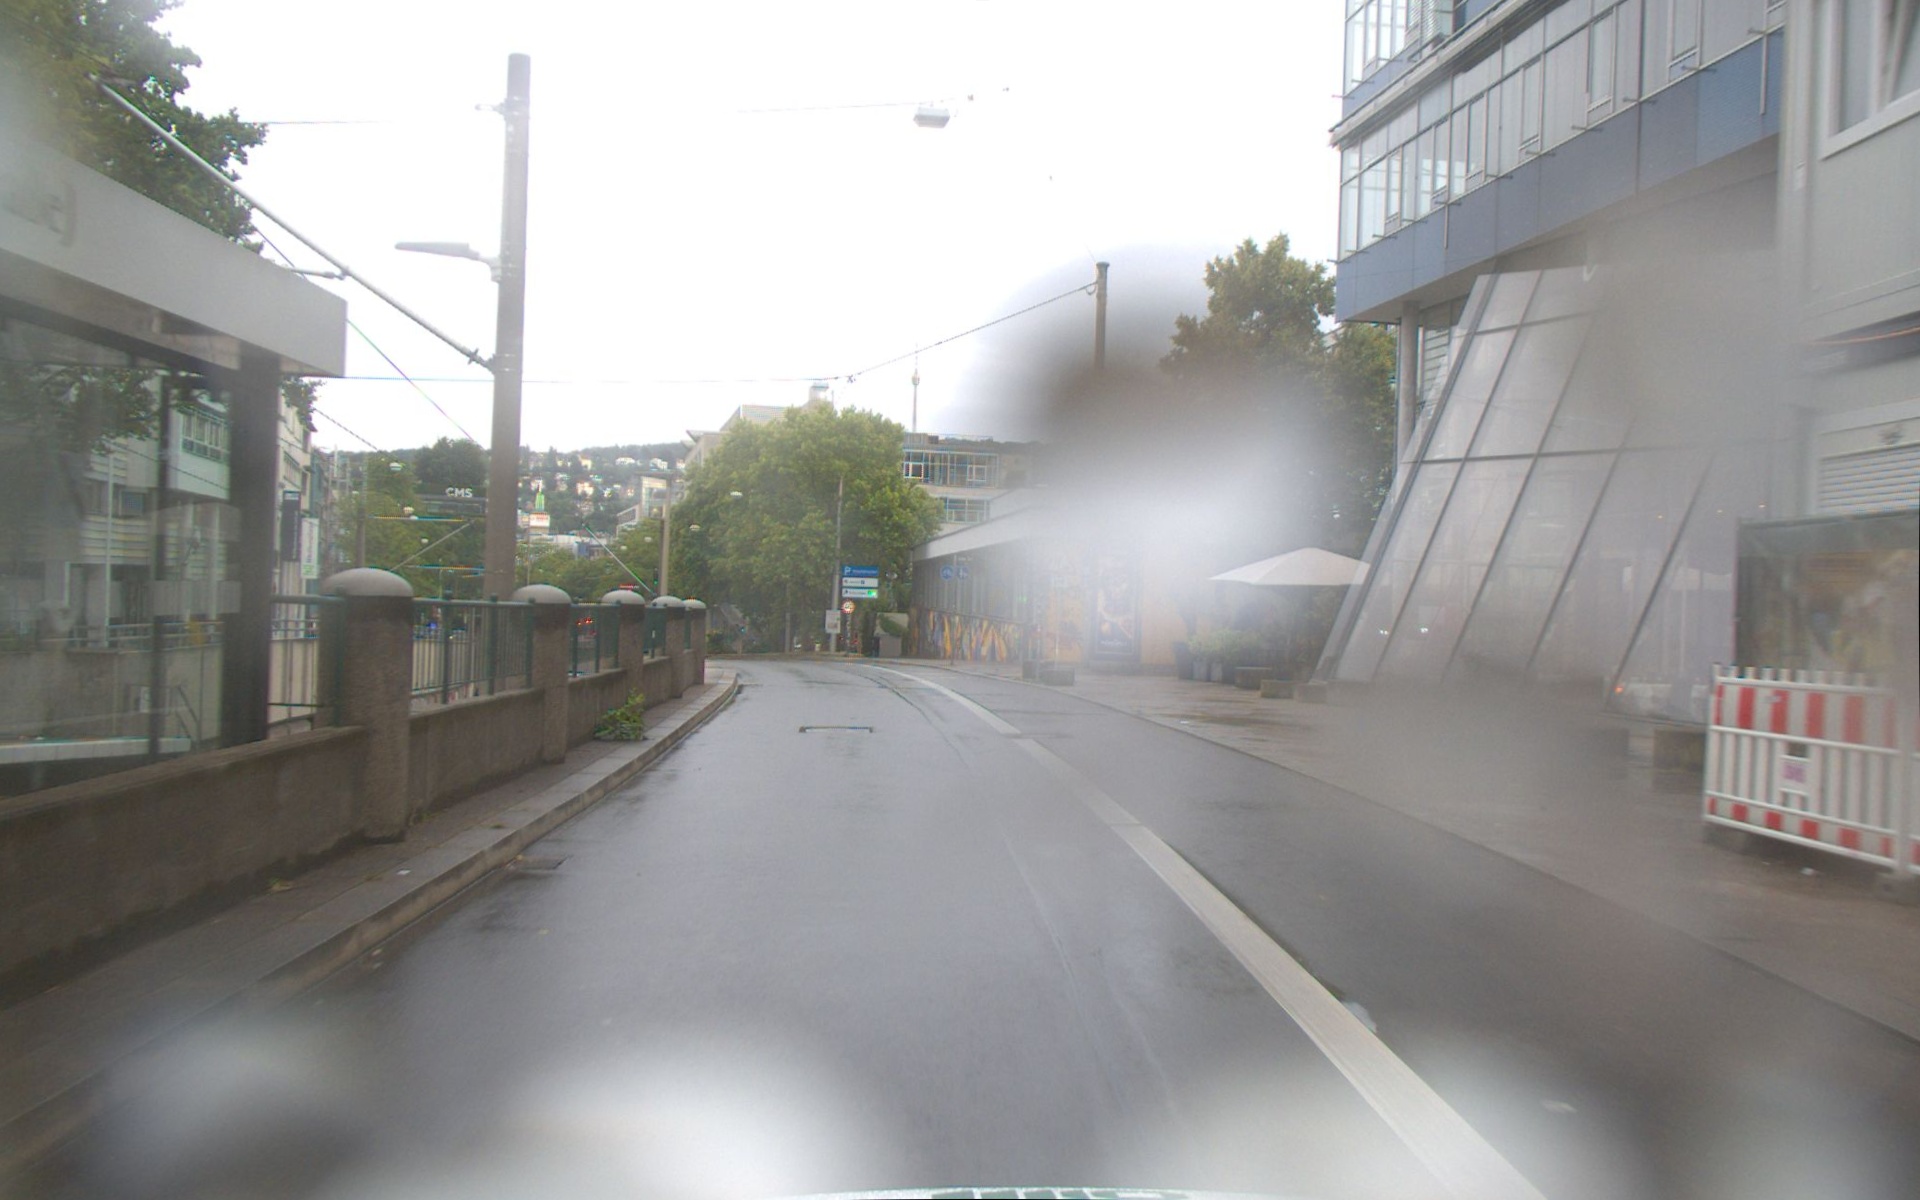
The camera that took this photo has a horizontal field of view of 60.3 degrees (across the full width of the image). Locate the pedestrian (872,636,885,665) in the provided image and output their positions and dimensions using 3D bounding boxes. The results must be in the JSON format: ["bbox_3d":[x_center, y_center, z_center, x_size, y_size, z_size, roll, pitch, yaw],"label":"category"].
[{"bbox_3d":[-5.428,3.337,110.027,0.792,1.897,1.054,0,-2,-8],"label":"pedestrian"}]

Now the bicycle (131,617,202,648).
[{"bbox_3d":[-31.962,1.294,66.735,1.664,1.061,4.506,2,1,-14],"label":"bicycle"}]

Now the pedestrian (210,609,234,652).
[{"bbox_3d":[-28.619,1.197,64.129,0.665,1.644,0.932,2,-2,-33],"label":"pedestrian"}]
